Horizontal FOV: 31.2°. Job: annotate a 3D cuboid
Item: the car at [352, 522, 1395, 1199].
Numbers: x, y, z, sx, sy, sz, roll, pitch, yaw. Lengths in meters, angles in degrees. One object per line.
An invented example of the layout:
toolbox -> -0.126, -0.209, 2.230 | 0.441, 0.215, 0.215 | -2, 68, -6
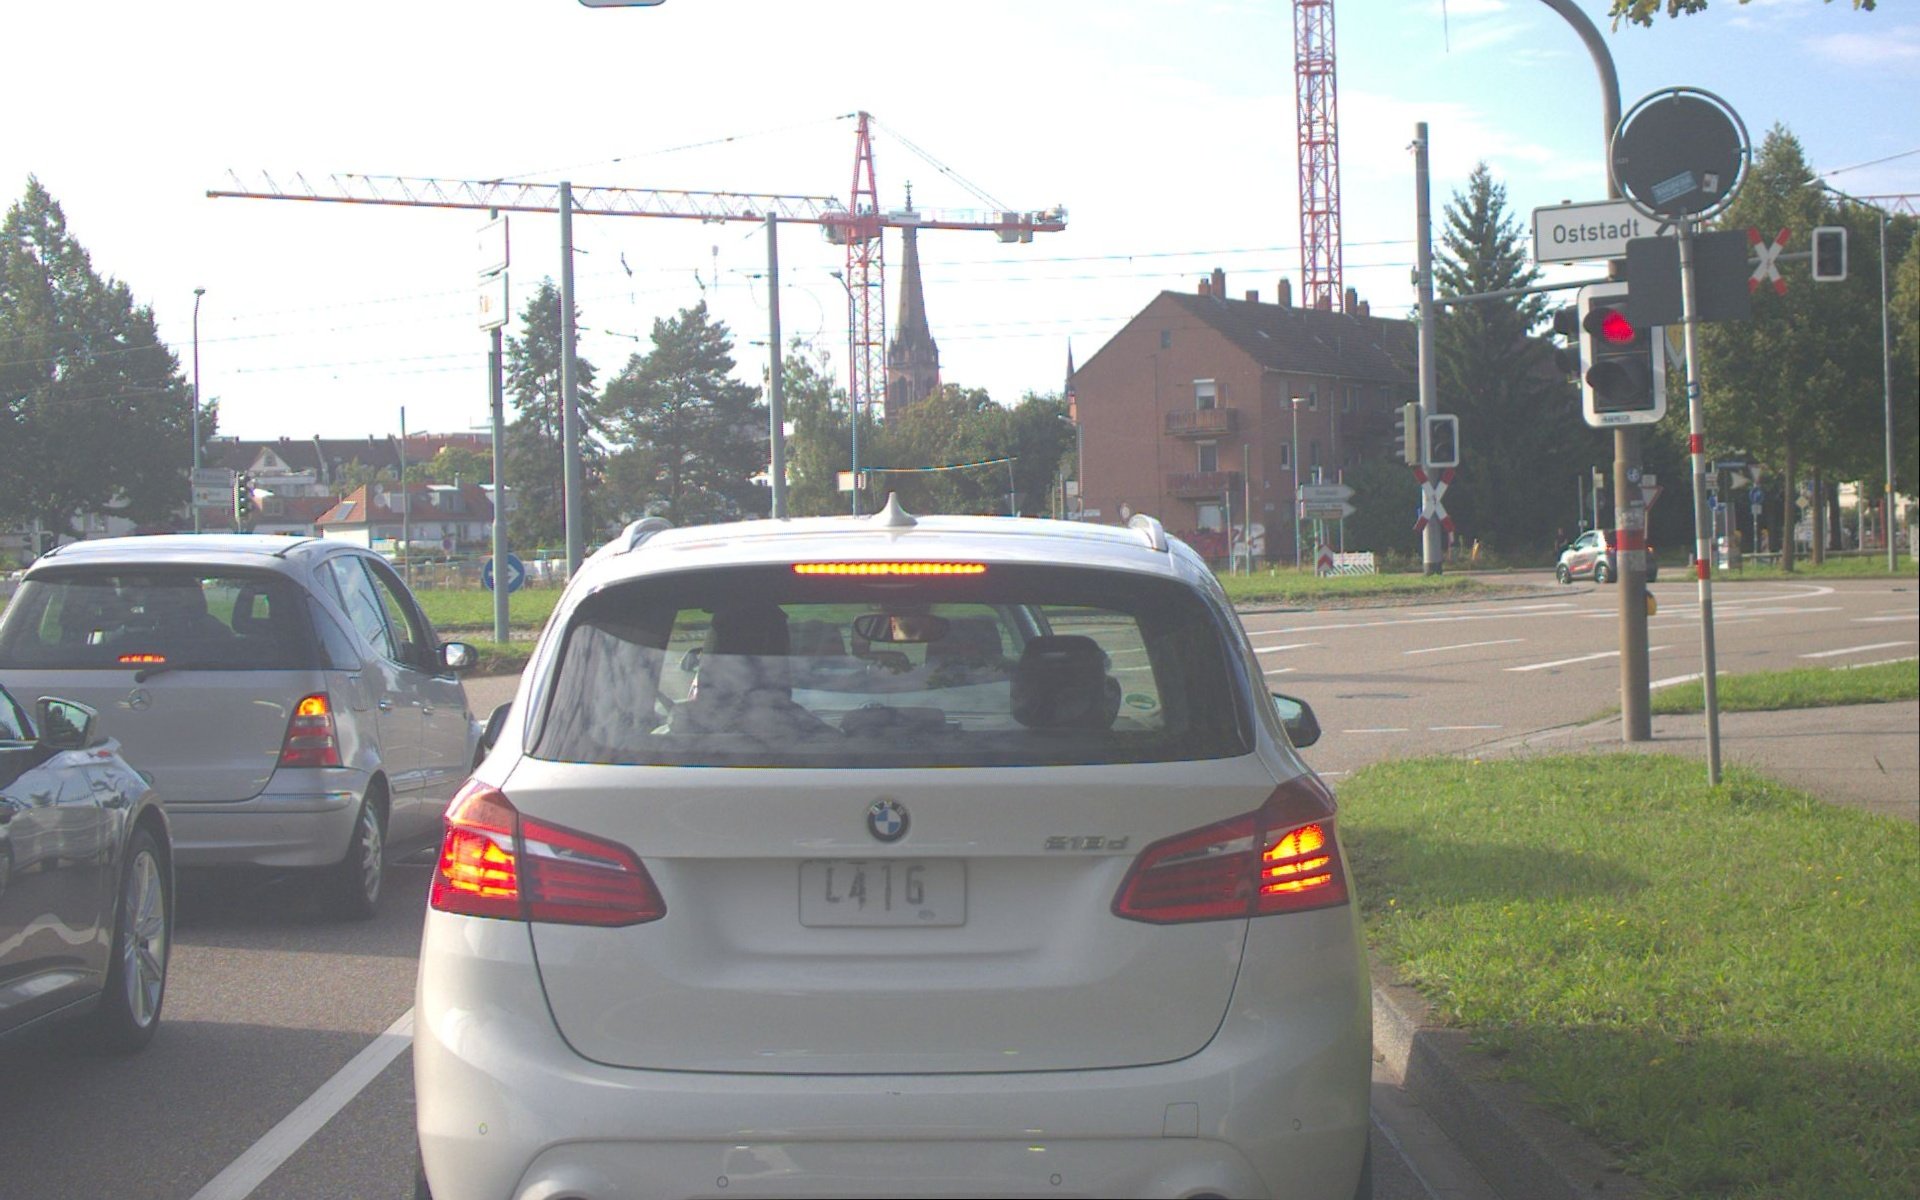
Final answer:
car -> -0.170, 0.613, 7.738 | 1.729, 1.553, 4.058 | 0, 1, -1

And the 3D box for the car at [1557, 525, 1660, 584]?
car -> 17.808, -1.240, 94.551 | 1.569, 1.568, 3.199 | -2, 1, -14

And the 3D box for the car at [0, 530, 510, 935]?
car -> -3.115, 0.474, 15.222 | 1.729, 1.553, 4.058 | 0, 1, 0

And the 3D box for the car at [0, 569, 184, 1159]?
car -> -3.348, 0.663, 8.465 | 1.890, 1.478, 4.613 | 0, 1, -1
